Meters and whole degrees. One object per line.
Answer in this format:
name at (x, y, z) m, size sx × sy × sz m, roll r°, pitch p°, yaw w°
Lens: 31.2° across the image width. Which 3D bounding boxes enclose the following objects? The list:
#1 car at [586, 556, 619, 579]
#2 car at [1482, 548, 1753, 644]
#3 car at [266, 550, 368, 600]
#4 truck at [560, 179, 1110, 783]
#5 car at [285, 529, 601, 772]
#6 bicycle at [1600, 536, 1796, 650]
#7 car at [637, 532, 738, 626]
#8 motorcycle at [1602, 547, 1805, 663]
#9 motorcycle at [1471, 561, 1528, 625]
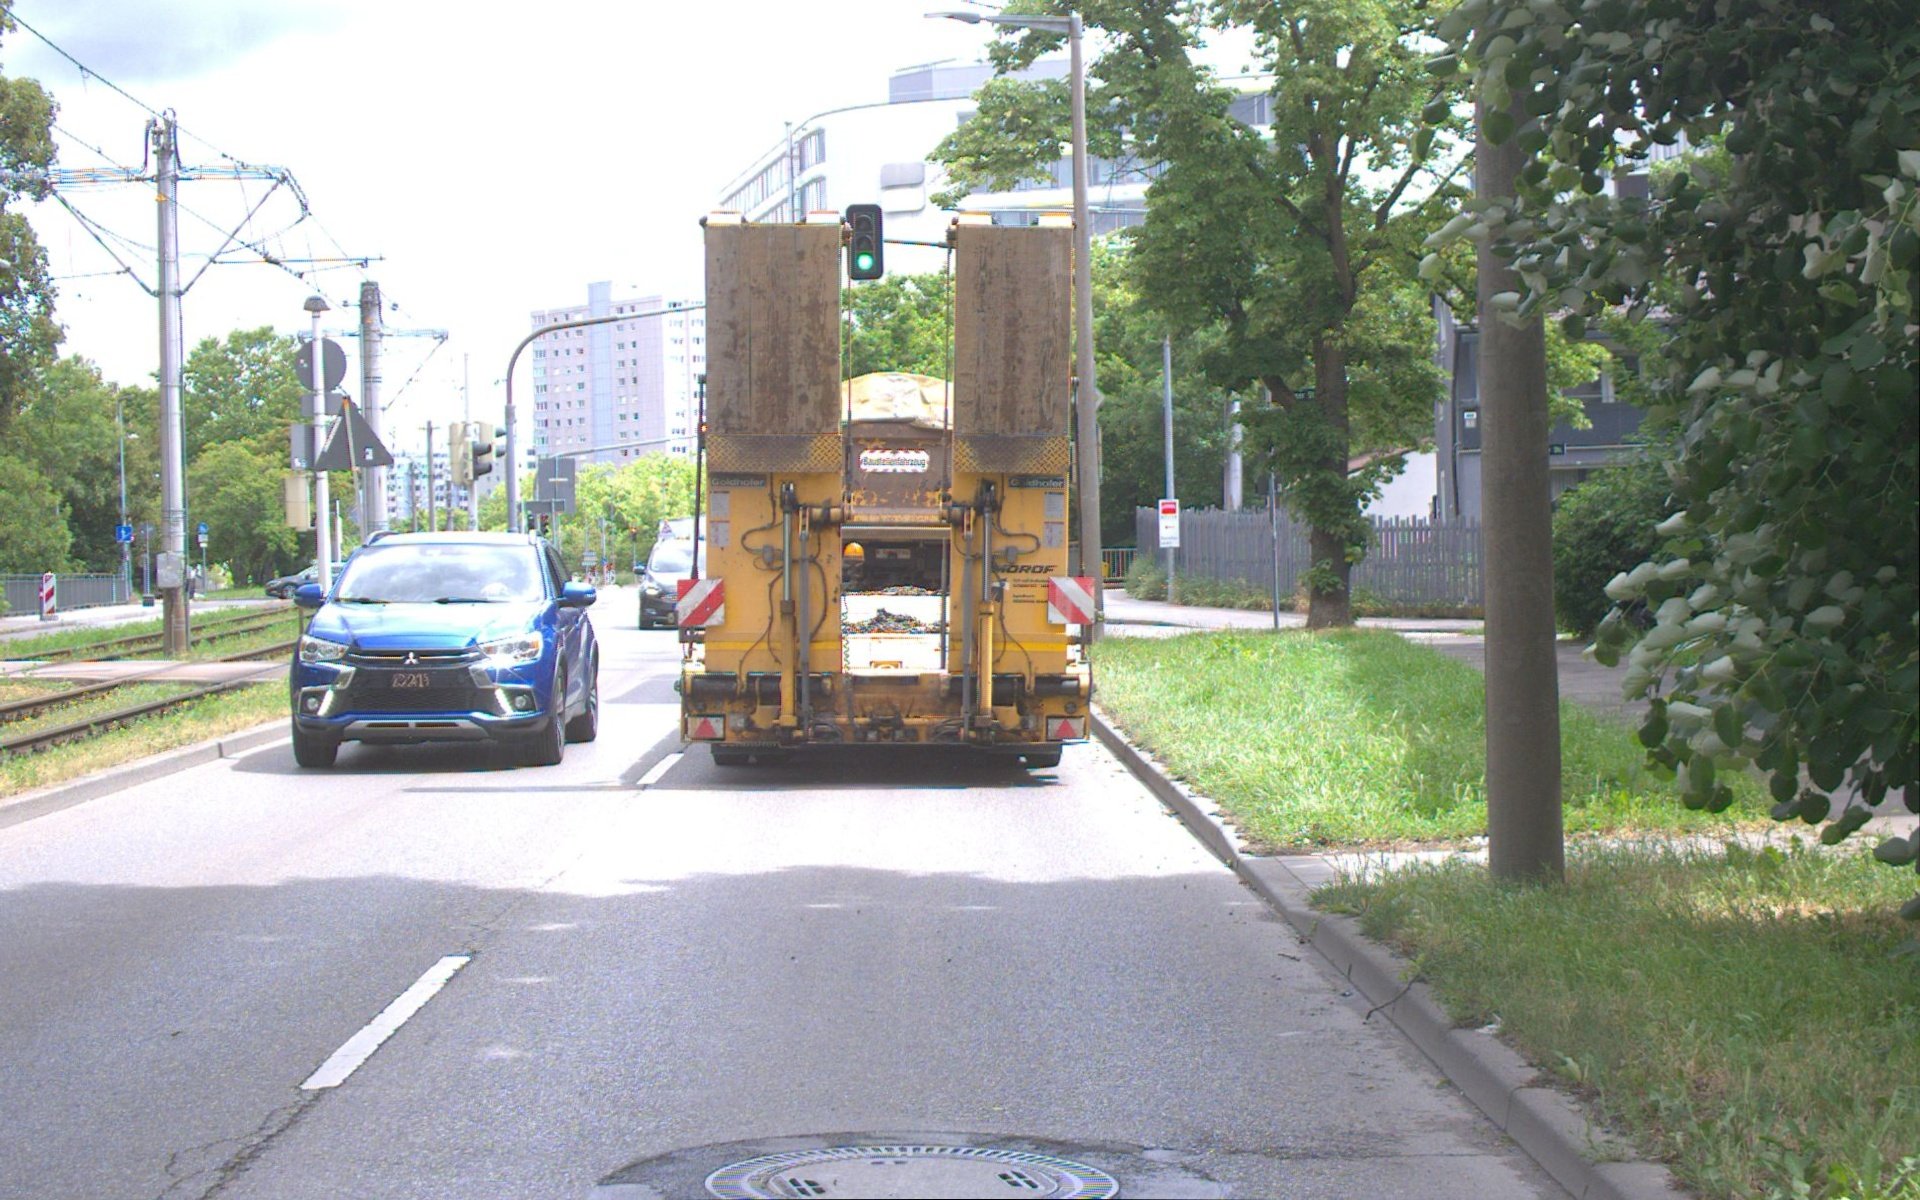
car at (-22.774, -2.076, 218.777) m, size 1.993 × 1.415 × 4.001 m, roll 0°, pitch 0°, yaw -8°
car at (10.878, -0.082, 56.999) m, size 3.986 × 1.548 × 1.940 m, roll 0°, pitch 1°, yaw -8°
car at (-26.336, -1.018, 140.891) m, size 3.986 × 2.007 × 2.000 m, roll 0°, pitch 0°, yaw -8°
truck at (-1.009, -0.740, 27.051) m, size 3.316 × 3.638 × 12.563 m, roll 0°, pitch 0°, yaw -2°
car at (-3.569, 0.287, 24.368) m, size 1.713 × 1.561 × 4.167 m, roll 0°, pitch 1°, yaw -2°
bicycle at (8.638, -0.083, 40.302) m, size 2.167 × 1.278 × 0.680 m, roll -1°, pitch 0°, yaw 8°
car at (-5.048, -0.406, 64.001) m, size 1.707 × 1.670 × 4.228 m, roll 0°, pitch 1°, yaw -2°
motorcycle at (8.547, 0.059, 39.594) m, size 2.205 × 1.278 × 0.680 m, roll -1°, pitch 0°, yaw 8°
motorcycle at (9.825, -0.130, 62.566) m, size 0.659 × 1.145 × 2.422 m, roll 0°, pitch 0°, yaw 18°
